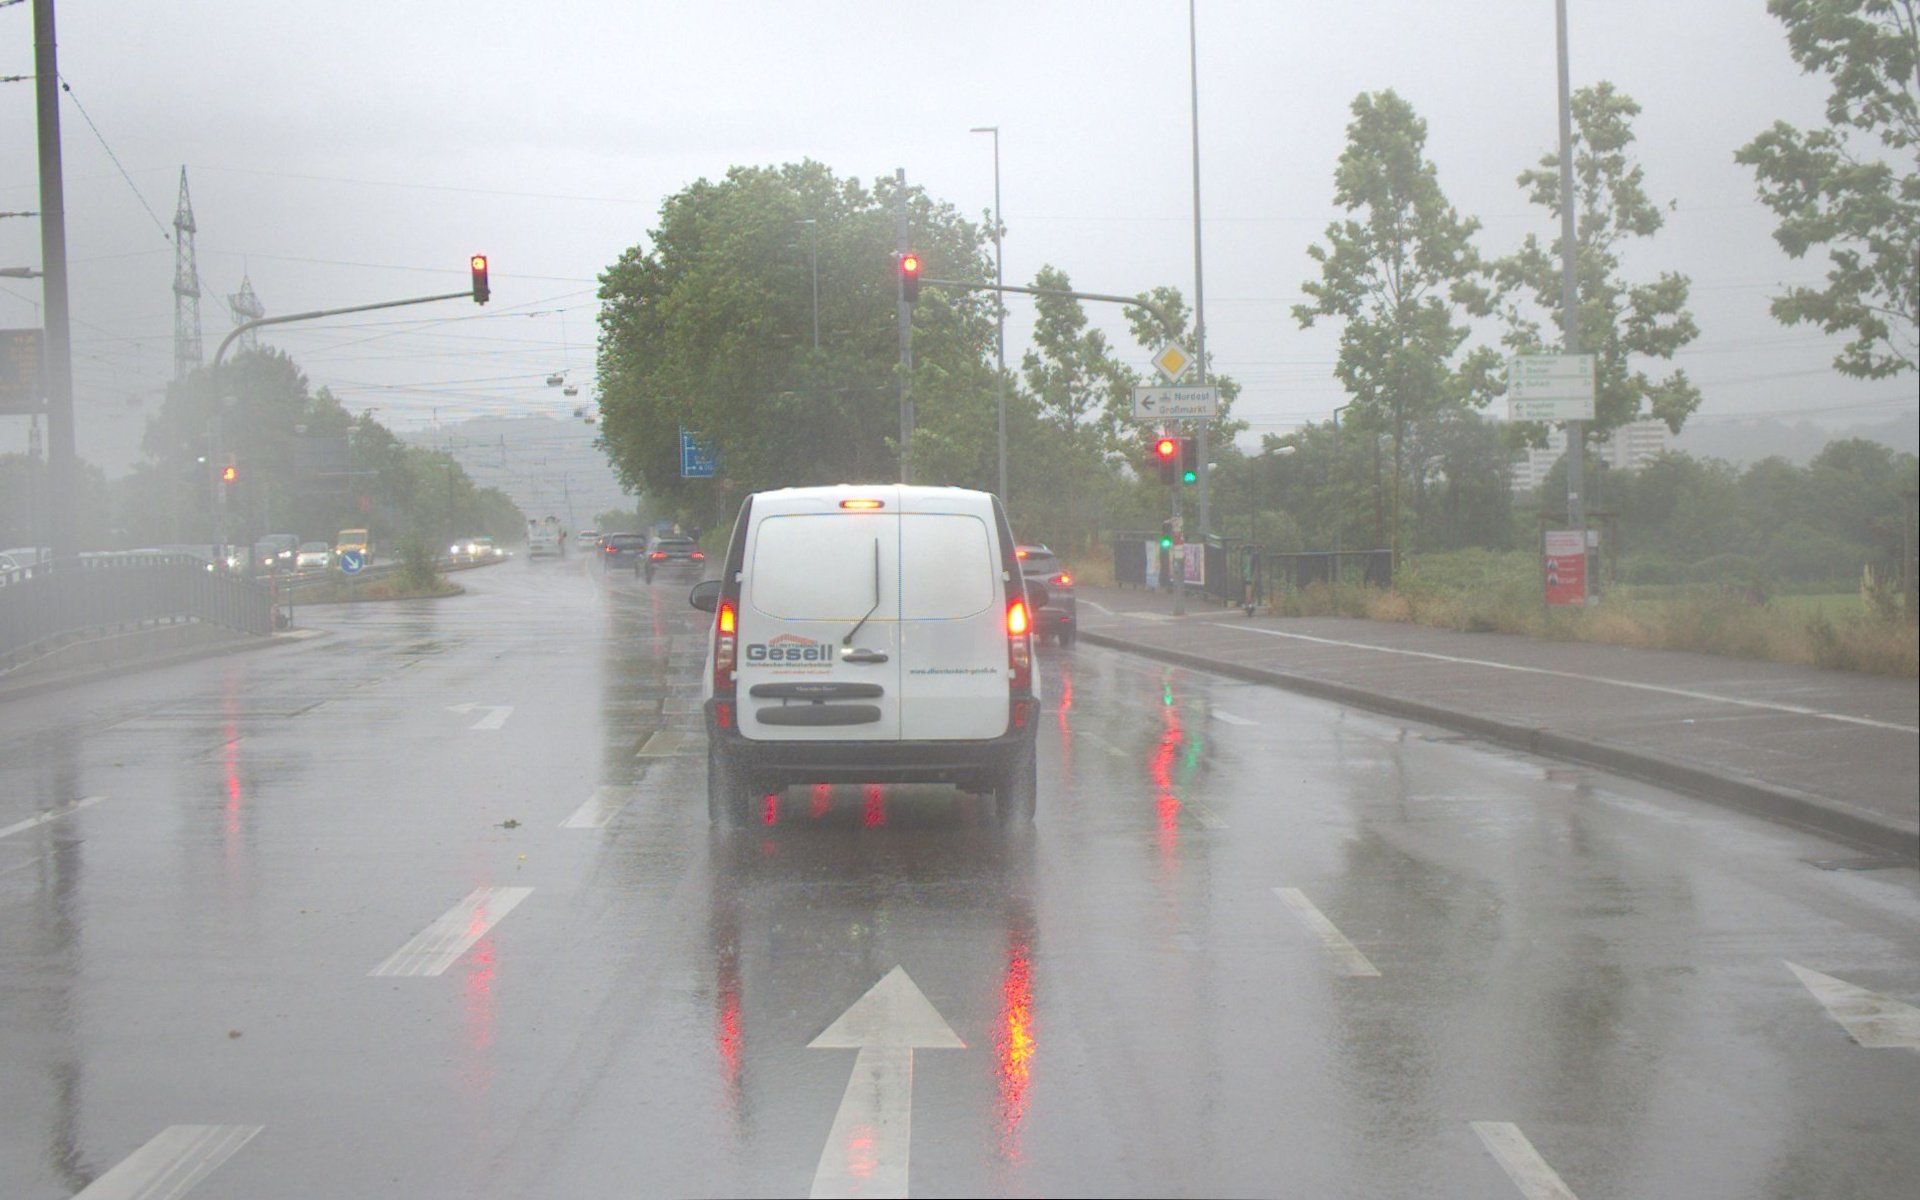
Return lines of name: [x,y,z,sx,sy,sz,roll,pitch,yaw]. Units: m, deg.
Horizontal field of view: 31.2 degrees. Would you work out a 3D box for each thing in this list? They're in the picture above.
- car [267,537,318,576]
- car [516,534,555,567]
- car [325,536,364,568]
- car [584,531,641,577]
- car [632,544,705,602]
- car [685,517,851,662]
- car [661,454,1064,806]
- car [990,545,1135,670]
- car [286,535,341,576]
car: [-35.065,-2.292,180.631,1.993,2.007,4.000,0,1,-1]
car: [-22.845,-2.646,184.840,1.993,1.744,4.001,0,1,-8]
car: [-39.200,-3.083,219.018,1.993,2.007,4.001,0,1,-4]
car: [-13.564,-1.808,134.103,1.993,1.744,4.001,0,1,-8]
car: [-9.087,-0.855,106.921,1.993,1.744,4.001,0,1,-8]
car: [-2.411,-0.159,43.630,1.993,1.744,4.001,0,1,-3]
car: [-0.663,0.118,19.493,2.024,1.769,4.275,0,1,-5]
car: [1.457,0.075,50.274,1.993,1.744,4.000,0,1,0]
car: [-32.543,-2.259,173.164,1.993,2.007,4.000,0,1,0]
